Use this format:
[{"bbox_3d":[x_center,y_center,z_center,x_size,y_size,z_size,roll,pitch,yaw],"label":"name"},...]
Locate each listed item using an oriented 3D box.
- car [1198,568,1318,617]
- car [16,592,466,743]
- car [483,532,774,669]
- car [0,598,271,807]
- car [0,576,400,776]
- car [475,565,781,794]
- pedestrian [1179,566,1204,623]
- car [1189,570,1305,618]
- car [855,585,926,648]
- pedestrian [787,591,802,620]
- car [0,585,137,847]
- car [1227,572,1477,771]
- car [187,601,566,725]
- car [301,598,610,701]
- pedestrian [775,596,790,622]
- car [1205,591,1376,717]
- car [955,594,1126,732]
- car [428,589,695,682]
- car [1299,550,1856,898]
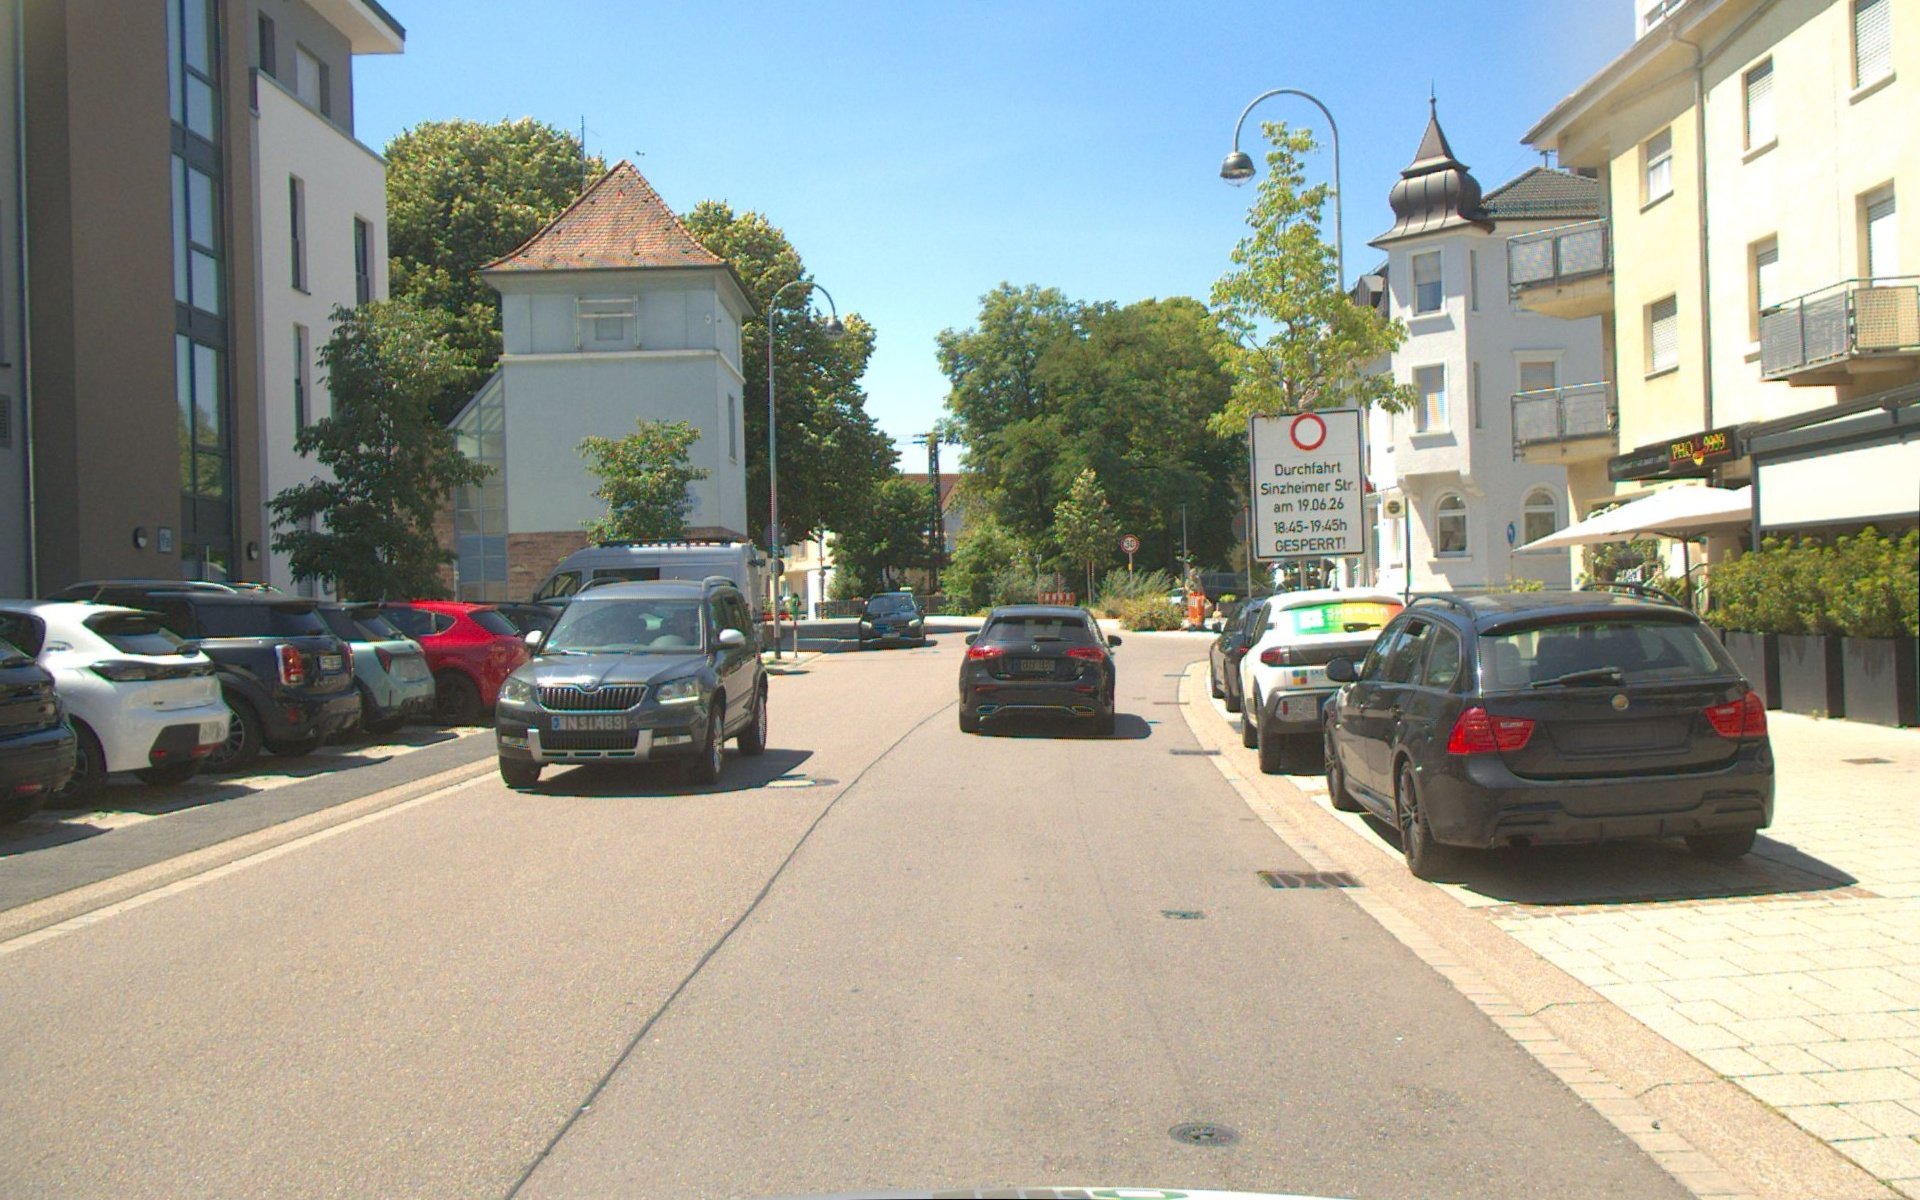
[{"bbox_3d":[10.738,-0.264,59.775,3.992,1.746,1.856,0,0,-1],"label":"car"},{"bbox_3d":[-7.607,0.696,17.782,3.948,1.523,2.001,0,0,3],"label":"car"},{"bbox_3d":[-6.928,0.012,34.991,5.647,2.780,2.292,0,0,2],"label":"car"},{"bbox_3d":[-7.544,0.717,12.446,3.904,1.446,1.910,0,0,1],"label":"car"},{"bbox_3d":[-7.405,0.650,14.965,3.948,1.680,2.001,0,0,3],"label":"car"},{"bbox_3d":[-2.747,0.615,14.631,1.773,1.731,4.077,0,0,2],"label":"car"},{"bbox_3d":[7.491,-0.184,53.512,0.730,1.827,0.844,-2,2,8],"label":"pedestrian"},{"bbox_3d":[10.680,-0.216,61.734,3.992,1.746,1.856,0,0,-1],"label":"car"},{"bbox_3d":[-1.920,0.424,46.923,1.855,1.580,4.798,-2,1,-1],"label":"car"},{"bbox_3d":[-10.449,0.353,104.302,0.657,1.772,0.691,-1,-1,-42],"label":"pedestrian"},{"bbox_3d":[-7.575,0.686,10.274,3.904,1.542,2.001,0,0,2],"label":"car"},{"bbox_3d":[3.514,0.591,15.495,1.701,1.511,4.057,-4,-1,6],"label":"car"},{"bbox_3d":[-7.128,0.746,20.490,3.948,1.455,2.001,0,0,3],"label":"car"},{"bbox_3d":[-7.502,0.720,24.924,4.116,1.463,1.885,0,0,-3],"label":"car"},{"bbox_3d":[-11.266,0.594,105.051,0.607,1.641,0.829,-1,-1,-29],"label":"pedestrian"},{"bbox_3d":[4.325,0.658,22.260,1.688,1.430,4.611,-3,0,5],"label":"car"},{"bbox_3d":[1.061,0.736,19.846,1.789,1.467,4.002,-1,-2,6],"label":"car"},{"bbox_3d":[-7.179,0.637,30.146,4.362,1.619,2.000,0,0,1],"label":"car"},{"bbox_3d":[3.290,0.609,9.750,1.795,1.508,4.096,-4,-1,2],"label":"car"}]
